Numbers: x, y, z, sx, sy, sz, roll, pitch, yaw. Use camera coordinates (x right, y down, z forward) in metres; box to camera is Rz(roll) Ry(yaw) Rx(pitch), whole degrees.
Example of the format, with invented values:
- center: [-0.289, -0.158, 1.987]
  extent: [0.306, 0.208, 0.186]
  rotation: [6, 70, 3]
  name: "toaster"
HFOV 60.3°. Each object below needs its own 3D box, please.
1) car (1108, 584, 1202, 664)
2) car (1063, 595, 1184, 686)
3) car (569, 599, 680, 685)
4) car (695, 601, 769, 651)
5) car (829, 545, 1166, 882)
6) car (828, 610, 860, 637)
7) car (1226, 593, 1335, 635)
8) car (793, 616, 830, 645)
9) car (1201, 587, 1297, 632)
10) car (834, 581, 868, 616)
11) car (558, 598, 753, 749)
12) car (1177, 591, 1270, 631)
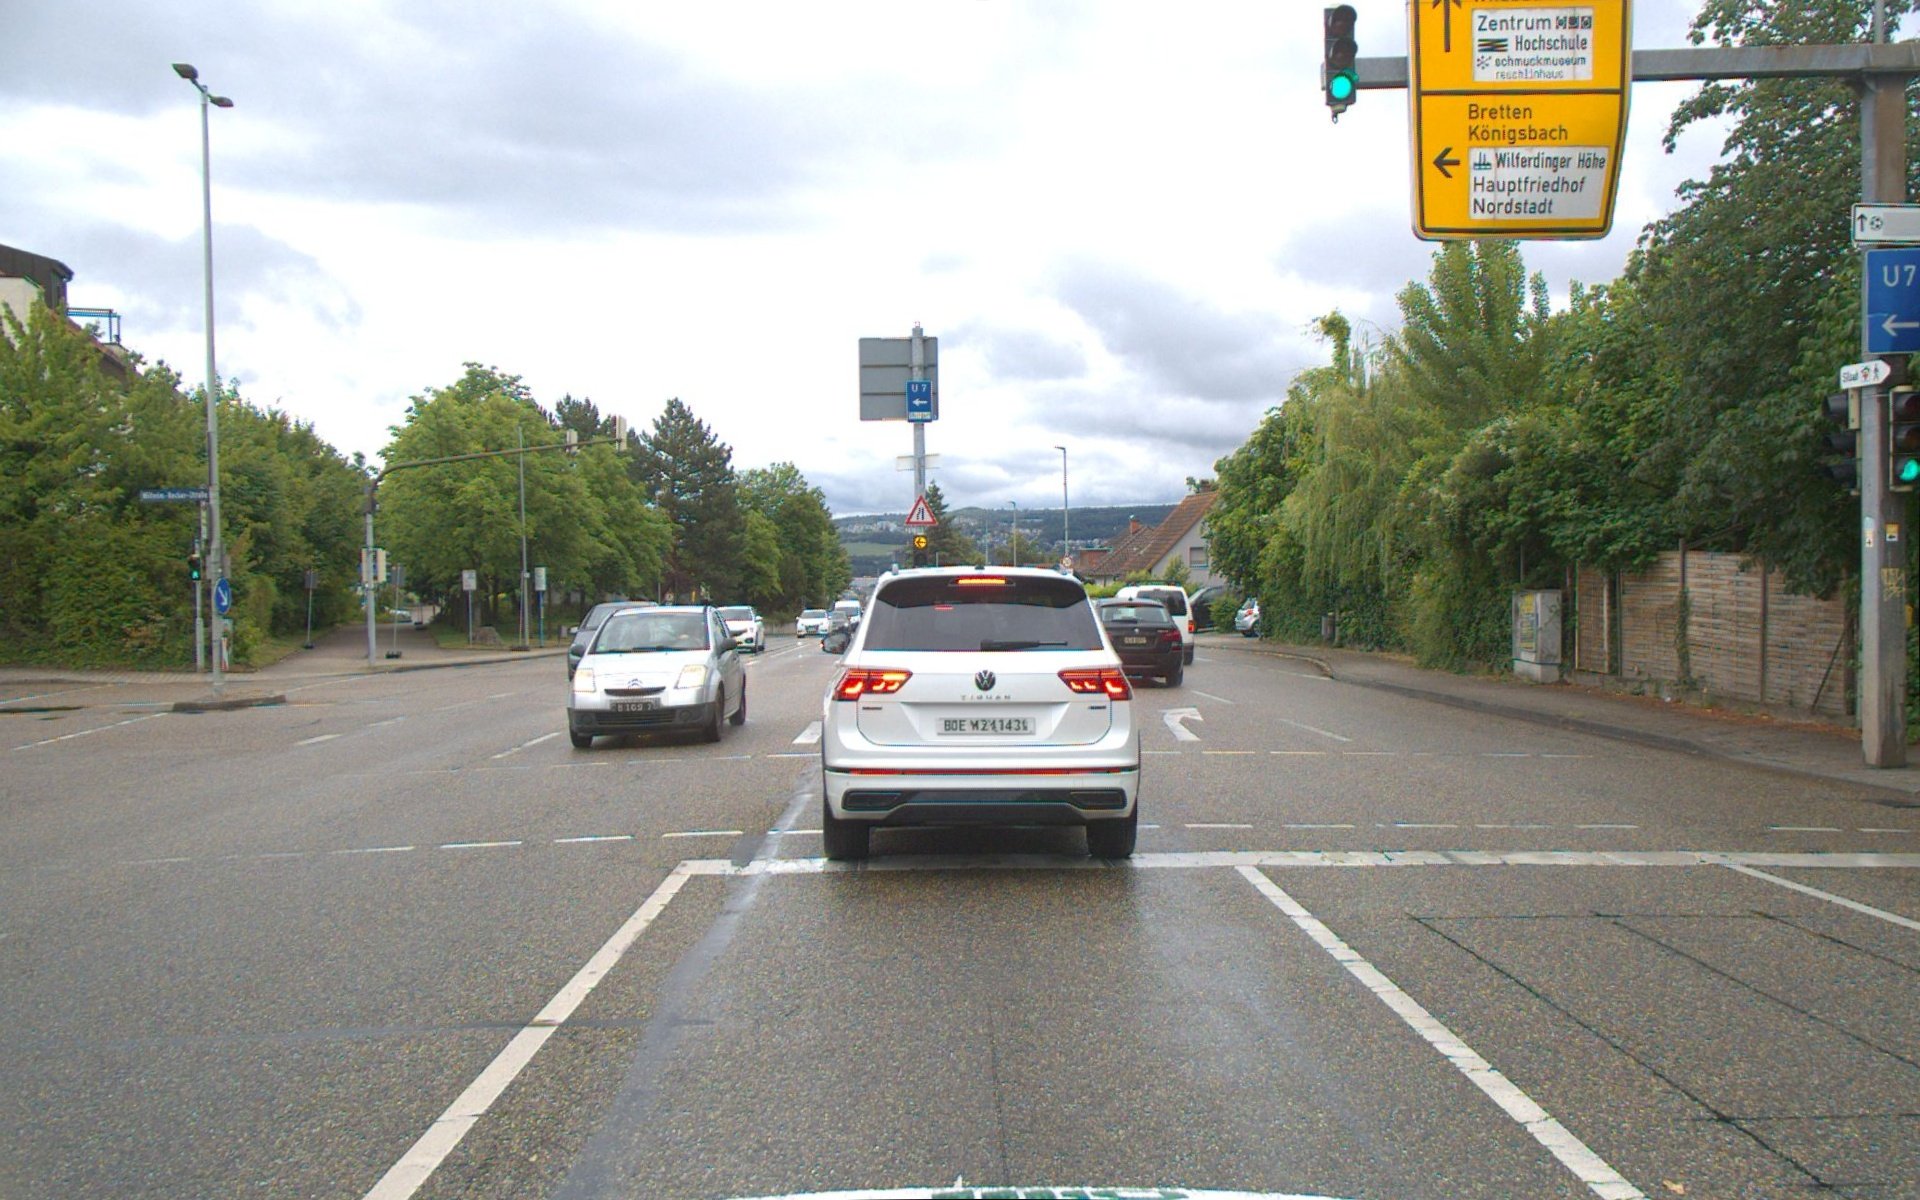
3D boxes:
- center: [4.621, 0.542, 39.633]
  extent: [1.677, 1.789, 3.801]
  rotation: [-1, 0, -2]
  name: "car"
- center: [2.800, 0.654, 28.986]
  extent: [1.646, 1.485, 3.801]
  rotation: [0, 0, -2]
  name: "car"
- center: [-6.846, 0.821, 34.036]
  extent: [1.665, 1.627, 3.548]
  rotation: [-1, 0, -2]
  name: "car"
- center: [-7.385, 0.814, 53.891]
  extent: [1.928, 1.480, 4.307]
  rotation: [-1, 0, -2]
  name: "car"
- center: [0.150, 0.579, 10.666]
  extent: [1.727, 1.725, 4.271]
  rotation: [0, 0, -1]
  name: "car"
- center: [-7.185, 1.424, 102.719]
  extent: [1.740, 1.528, 4.471]
  rotation: [-2, 0, -1]
  name: "car"
- center: [11.938, 0.530, 61.765]
  extent: [3.642, 1.420, 1.726]
  rotation: [-1, -1, -6]
  name: "car"
- center: [-7.855, 1.578, 87.809]
  extent: [1.711, 1.421, 3.800]
  rotation: [-1, 0, -2]
  name: "car"
- center: [11.705, 0.385, 67.156]
  extent: [3.556, 1.777, 1.706]
  rotation: [0, -1, -4]
  name: "car"
- center: [-8.194, -0.114, 125.022]
  extent: [2.250, 2.572, 5.772]
  rotation: [0, 0, -1]
  name: "car"
- center: [-3.354, 0.755, 18.774]
  extent: [1.606, 1.485, 3.517]
  rotation: [-2, 0, -2]
  name: "car"
- center: [11.050, 0.464, 69.516]
  extent: [3.556, 1.655, 1.789]
  rotation: [0, -1, -5]
  name: "car"
